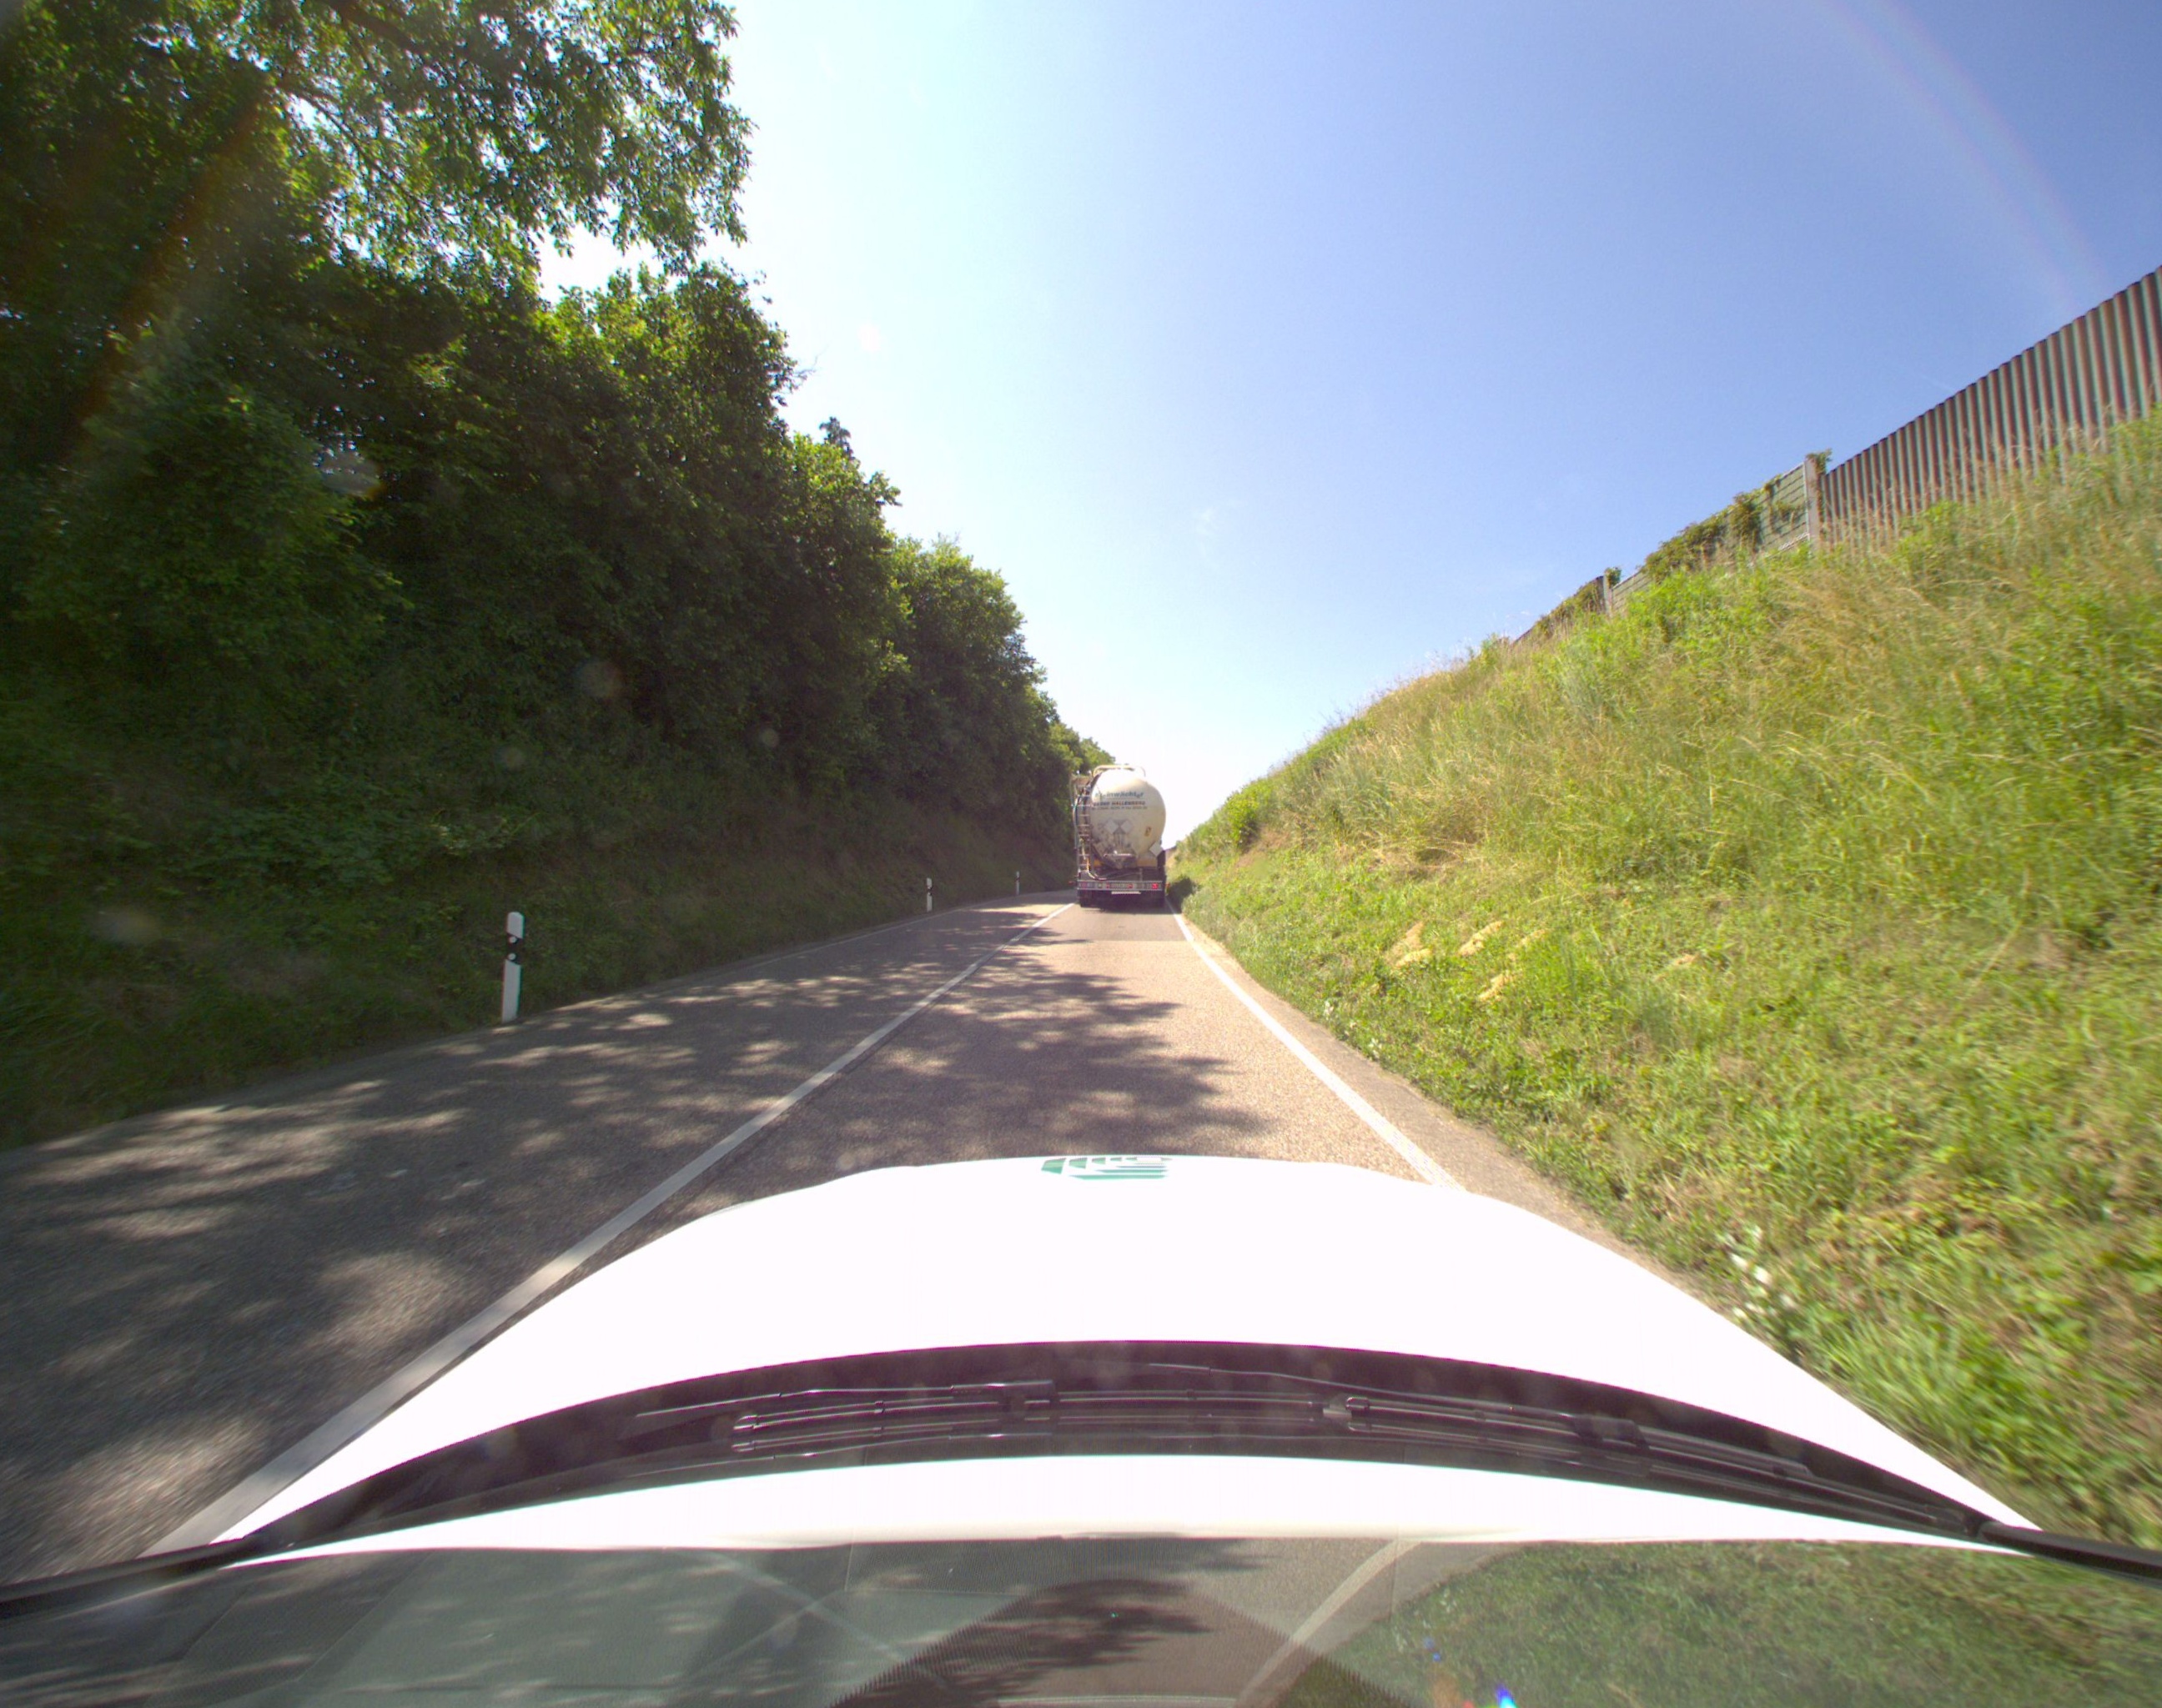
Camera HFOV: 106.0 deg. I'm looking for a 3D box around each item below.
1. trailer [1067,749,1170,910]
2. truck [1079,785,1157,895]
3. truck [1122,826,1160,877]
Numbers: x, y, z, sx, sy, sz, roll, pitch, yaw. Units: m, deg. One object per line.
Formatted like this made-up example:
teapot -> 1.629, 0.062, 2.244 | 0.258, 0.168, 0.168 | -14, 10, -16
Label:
trailer -> 1.296, -0.579, 27.124 | 2.650, 4.189, 11.913 | 0, -1, 3
truck -> 1.644, -0.393, 33.008 | 2.714, 3.930, 7.271 | -1, -2, 5
truck -> 5.587, -0.147, 76.346 | 3.176, 4.310, 11.812 | 2, 0, 4
